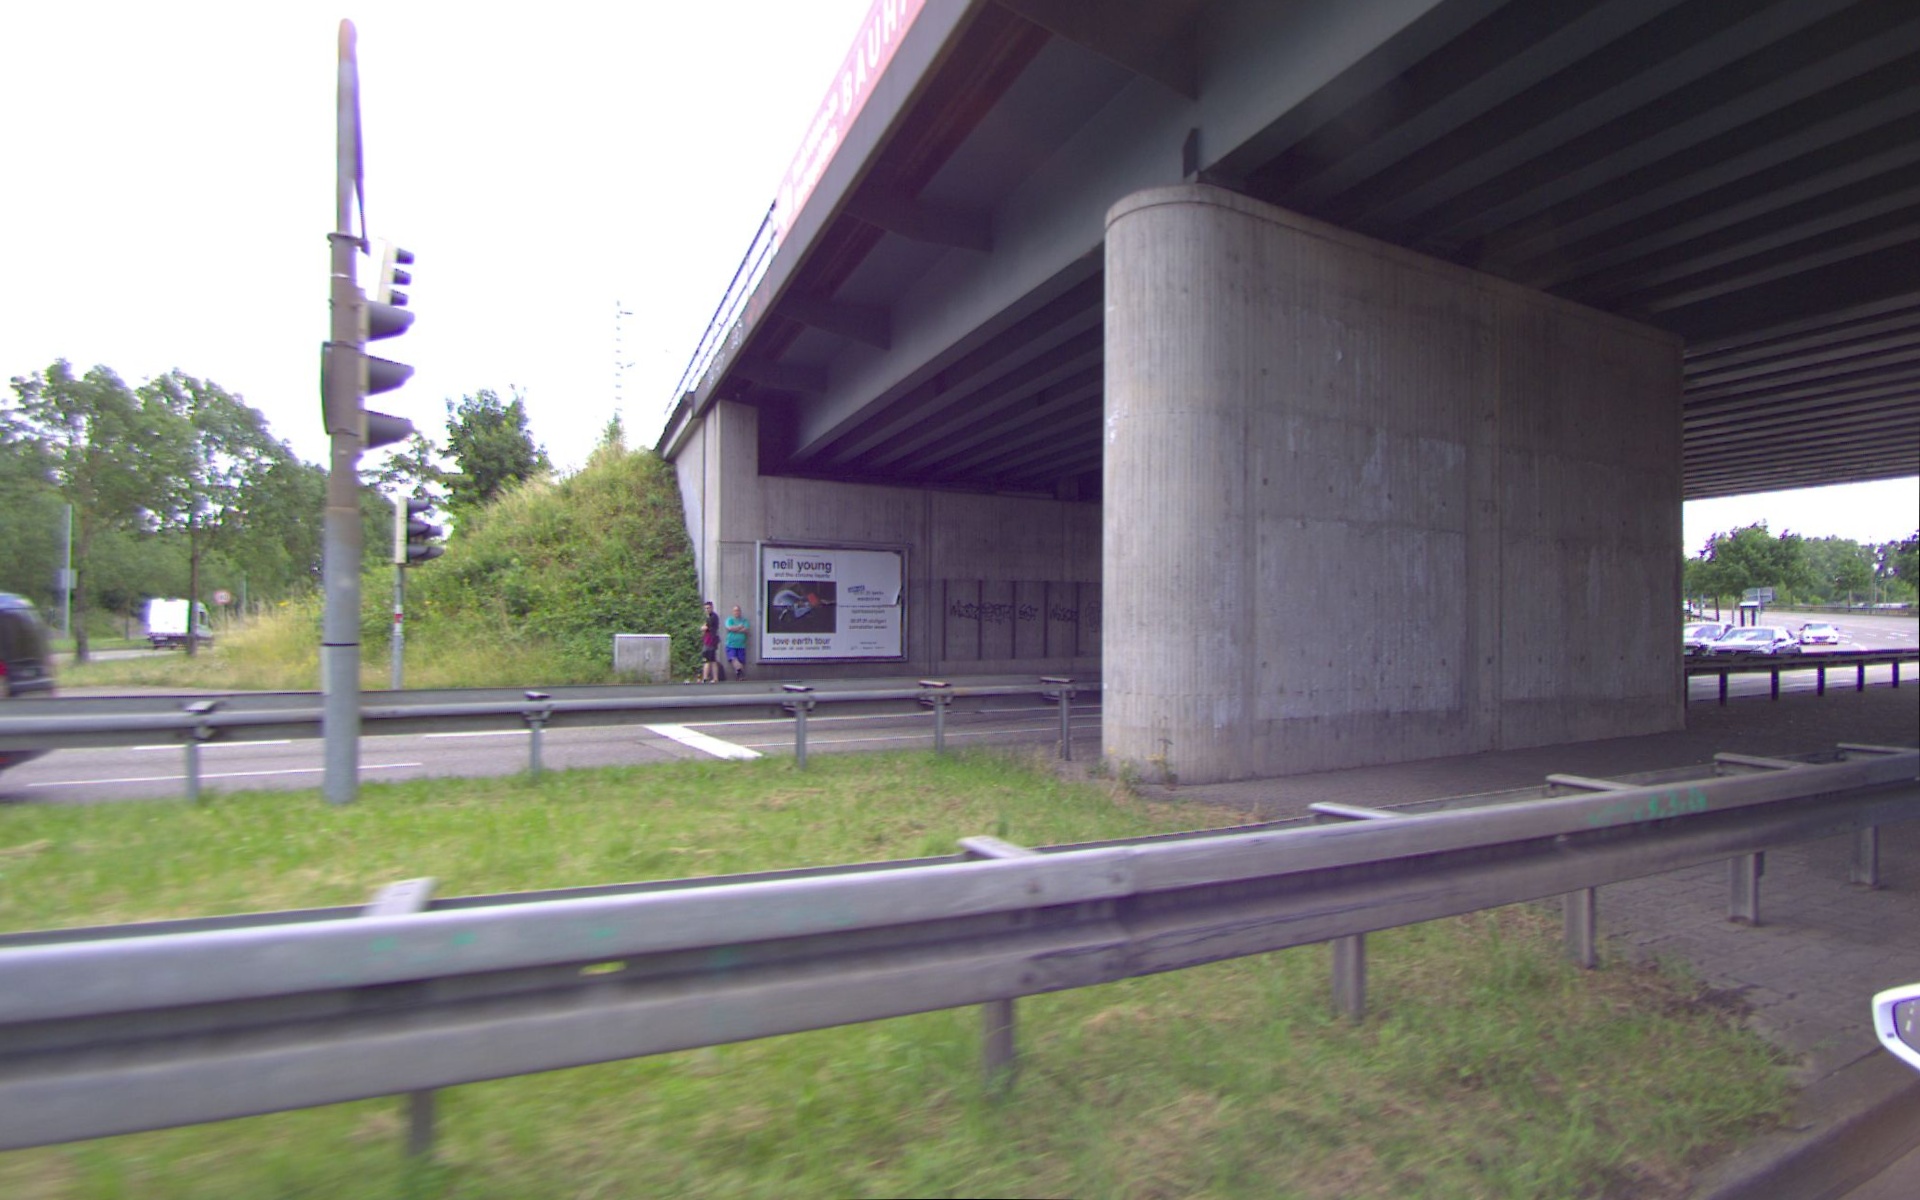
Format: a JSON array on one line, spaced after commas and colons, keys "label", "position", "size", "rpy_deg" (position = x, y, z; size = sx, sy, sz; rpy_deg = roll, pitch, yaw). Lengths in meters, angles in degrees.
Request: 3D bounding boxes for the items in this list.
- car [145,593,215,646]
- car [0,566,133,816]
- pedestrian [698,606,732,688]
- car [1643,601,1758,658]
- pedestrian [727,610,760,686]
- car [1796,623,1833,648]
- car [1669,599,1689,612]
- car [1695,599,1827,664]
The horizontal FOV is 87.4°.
[{"label": "car", "position": [-44.238, 1.127, 57.089], "size": [2.359, 2.859, 5.373], "rpy_deg": [1, -1, -30]}, {"label": "car", "position": [-8.989, 0.637, 7.010], "size": [4.663, 1.782, 1.984], "rpy_deg": [1, -2, -31]}, {"label": "pedestrian", "position": [-5.217, 0.987, 21.361], "size": [0.549, 1.703, 0.587], "rpy_deg": [1, -1, -31]}, {"label": "car", "position": [27.867, 1.098, 37.786], "size": [4.286, 2.040, 1.984], "rpy_deg": [1, -1, -31]}, {"label": "pedestrian", "position": [-4.763, 1.043, 22.115], "size": [0.579, 1.646, 0.552], "rpy_deg": [1, -1, -28]}, {"label": "car", "position": [55.826, 2.276, 65.612], "size": [1.732, 1.530, 3.980], "rpy_deg": [-1, -1, 41]}, {"label": "car", "position": [94.319, 0.768, 131.773], "size": [1.967, 1.552, 4.319], "rpy_deg": [-3, -3, 33]}, {"label": "car", "position": [26.482, 1.033, 33.194], "size": [4.405, 2.040, 1.984], "rpy_deg": [1, -1, -31]}]
